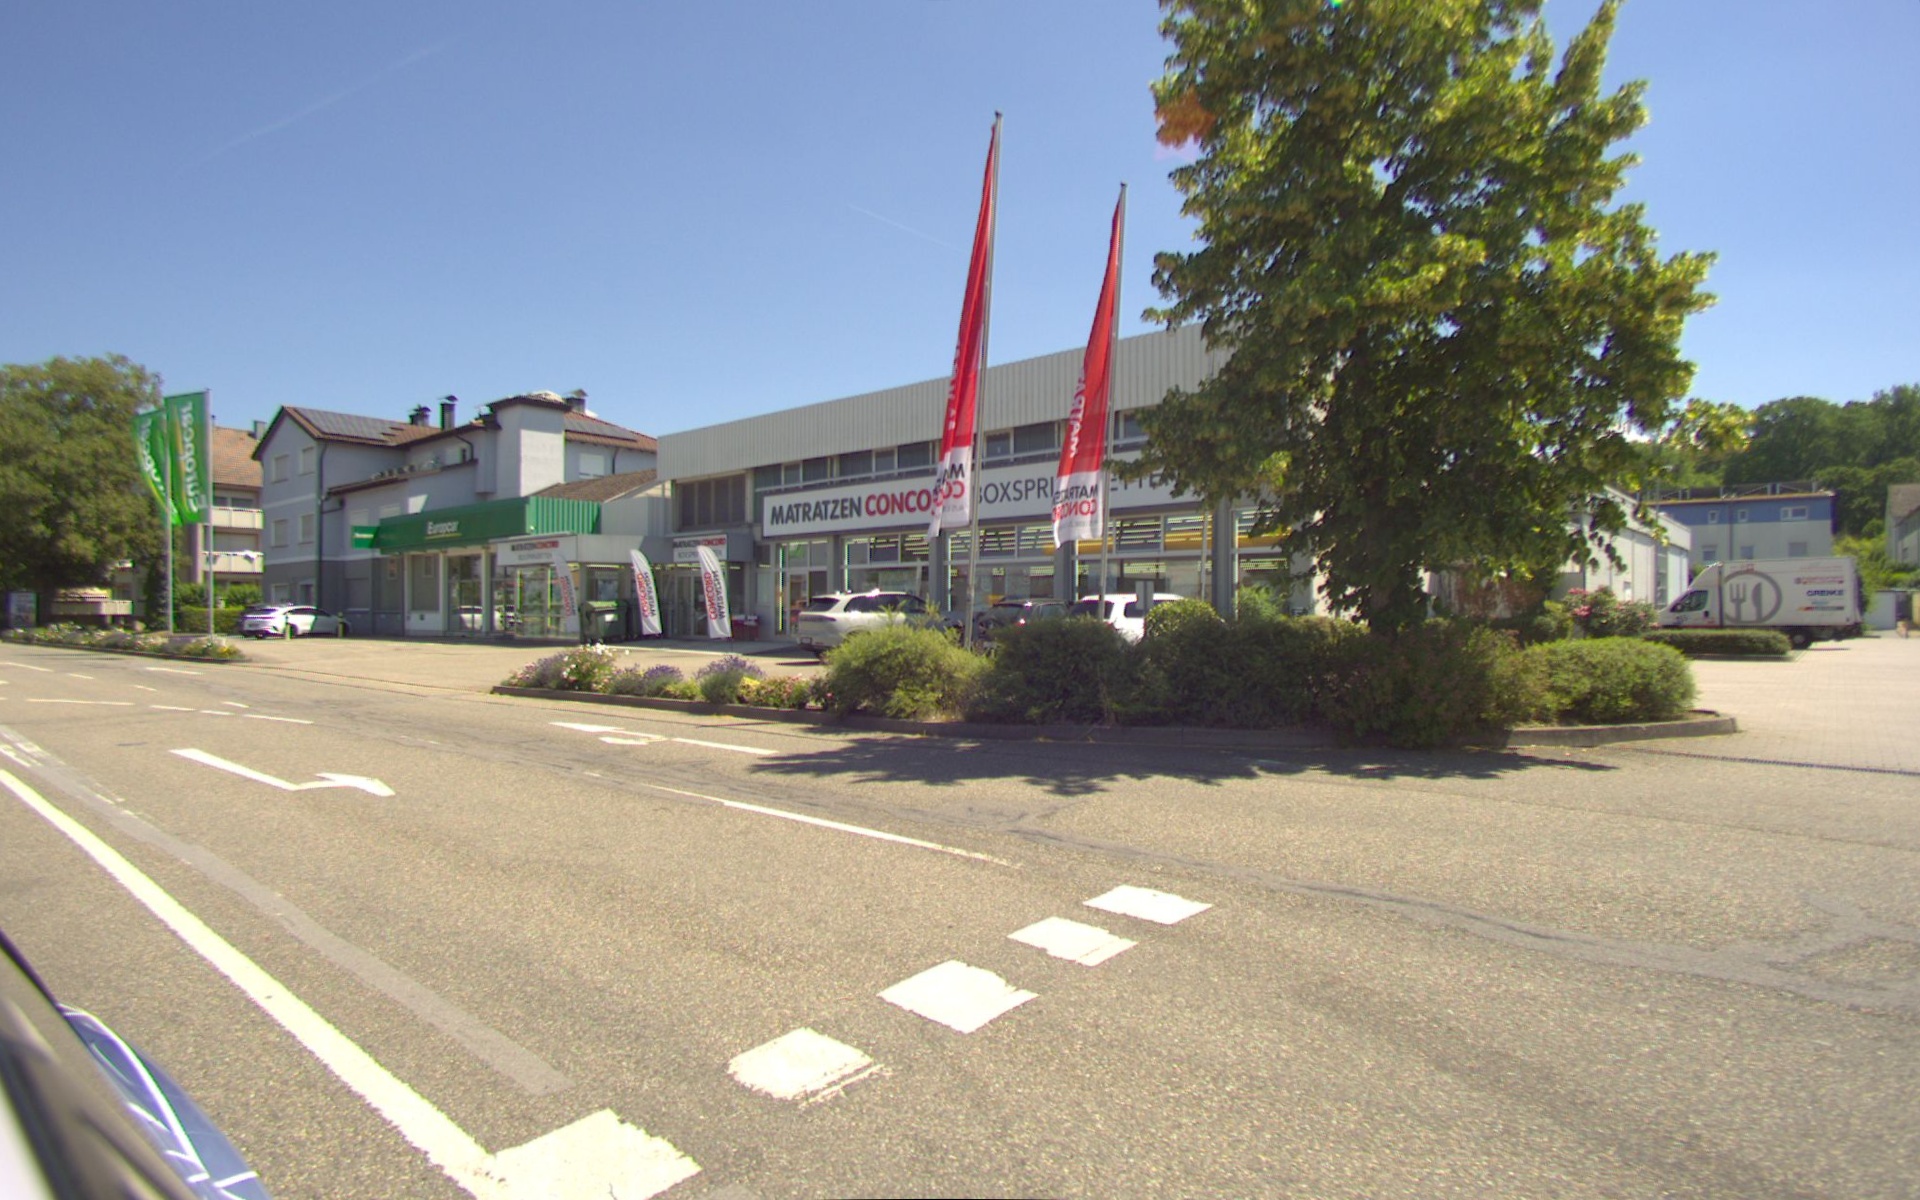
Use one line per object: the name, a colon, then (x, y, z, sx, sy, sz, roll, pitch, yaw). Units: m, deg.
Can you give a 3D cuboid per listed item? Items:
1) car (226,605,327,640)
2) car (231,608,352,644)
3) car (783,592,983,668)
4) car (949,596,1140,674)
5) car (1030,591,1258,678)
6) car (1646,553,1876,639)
car: (-32.221, 1.023, 47.771, 1.967, 1.577, 3.527, -1, 0, 38)
car: (-29.547, 1.119, 44.905, 1.922, 1.450, 4.333, -1, 0, 15)
car: (-1.855, 0.683, 24.834, 4.469, 1.676, 2.005, -1, 0, -33)
car: (1.819, 0.684, 21.643, 3.576, 1.486, 2.005, -1, 0, -33)
car: (3.570, 0.594, 19.398, 4.128, 1.457, 1.984, -1, 0, -36)
car: (26.689, -0.135, 33.924, 5.897, 2.646, 2.257, 0, 1, 41)
